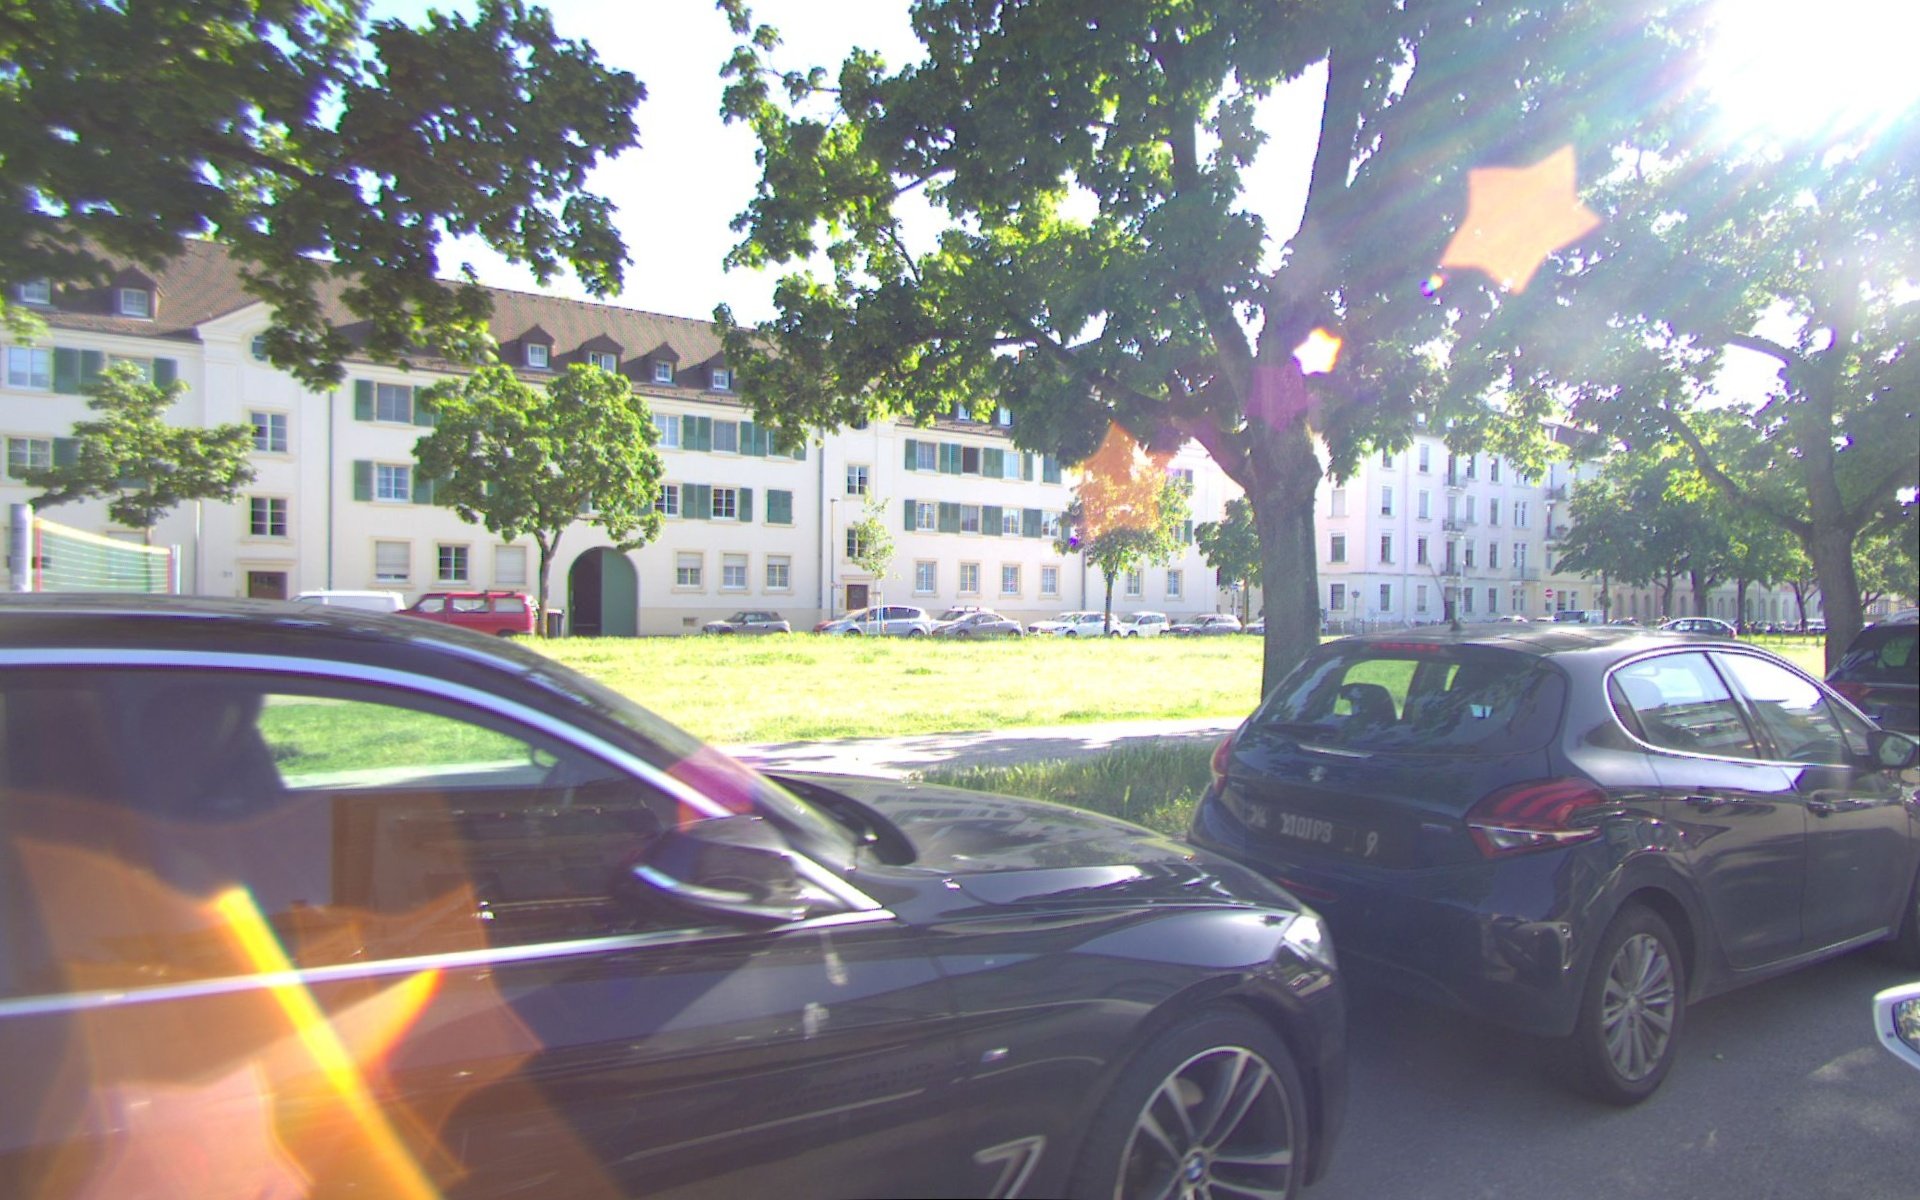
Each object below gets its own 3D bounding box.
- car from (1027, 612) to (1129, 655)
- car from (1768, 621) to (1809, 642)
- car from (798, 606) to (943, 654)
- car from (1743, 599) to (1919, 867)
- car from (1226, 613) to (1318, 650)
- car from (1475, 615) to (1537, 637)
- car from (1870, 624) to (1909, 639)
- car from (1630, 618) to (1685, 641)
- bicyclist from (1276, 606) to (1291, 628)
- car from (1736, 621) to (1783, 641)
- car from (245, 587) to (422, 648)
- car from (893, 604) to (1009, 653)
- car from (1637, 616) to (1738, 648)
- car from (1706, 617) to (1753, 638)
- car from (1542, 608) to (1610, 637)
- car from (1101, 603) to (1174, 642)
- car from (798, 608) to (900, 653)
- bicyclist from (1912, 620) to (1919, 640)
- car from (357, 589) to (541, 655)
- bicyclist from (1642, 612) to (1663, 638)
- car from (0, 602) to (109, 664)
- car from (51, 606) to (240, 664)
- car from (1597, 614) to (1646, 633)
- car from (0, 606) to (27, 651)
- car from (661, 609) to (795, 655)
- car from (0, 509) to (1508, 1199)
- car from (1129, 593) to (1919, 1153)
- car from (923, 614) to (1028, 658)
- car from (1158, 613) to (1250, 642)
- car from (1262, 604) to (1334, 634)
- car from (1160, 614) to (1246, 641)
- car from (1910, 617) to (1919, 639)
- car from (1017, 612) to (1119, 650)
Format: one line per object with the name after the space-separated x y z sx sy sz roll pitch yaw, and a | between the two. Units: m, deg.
5.462 1.507 46.352 4.212 1.844 2.223 1 0 -33 | car
70.906 2.674 85.967 4.037 1.709 1.622 1 0 -33 | car
-3.610 1.197 40.835 5.387 1.844 2.439 1 0 -29 | car
7.999 0.853 7.297 4.700 1.647 2.017 1 -2 -30 | car
16.488 1.642 53.006 4.653 1.844 2.146 1 0 -33 | car
40.041 1.900 73.653 4.398 1.608 1.985 1 0 -29 | car
91.133 3.077 98.515 3.730 1.459 1.837 1 0 -31 | car
51.401 2.179 74.013 4.648 1.582 1.684 1 0 -33 | car
20.520 1.078 63.716 0.777 1.382 0.529 1 0 -33 | bicyclist
66.199 2.587 83.145 4.480 1.570 1.746 1 0 -33 | car
-22.199 0.617 35.779 5.201 2.011 2.207 1 0 -33 | car
-0.422 1.378 49.419 5.200 2.245 2.516 1 0 -33 | car
38.311 1.641 53.013 4.277 1.597 1.922 0 -1 36 | car
61.108 2.187 79.755 4.308 1.570 1.622 1 0 -33 | car
42.220 1.538 68.811 5.044 1.897 2.069 1 0 -33 | car
9.811 1.240 55.392 3.853 2.040 1.657 2 -1 -31 | car
-5.116 1.387 46.380 4.121 1.930 2.251 1 0 -32 | car
88.830 2.802 92.794 1.433 1.861 0.937 2 -1 -31 | bicyclist
-16.657 0.707 32.834 5.201 2.011 2.207 1 0 -33 | car
38.919 1.407 56.461 0.861 1.382 0.622 1 4 28 | bicyclist
-25.783 0.860 27.003 4.188 1.604 1.779 1 0 -32 | car
-26.604 1.117 33.045 4.594 1.787 1.982 1 0 -33 | car
46.938 1.640 71.263 3.488 1.296 1.684 1 0 -33 | car
-31.054 0.846 30.285 3.955 1.374 1.759 1 0 -32 | car
-10.019 1.354 43.442 5.194 1.844 2.439 1 0 -29 | car
-1.264 0.701 1.995 5.103 1.536 1.982 1 -2 -33 | car
2.799 0.767 4.354 3.758 1.437 1.871 2 -2 -30 | car
0.664 1.539 43.427 3.960 1.773 2.307 1 0 -29 | car
13.160 1.462 54.152 4.902 1.504 1.983 1 -1 -32 | car
24.157 1.328 71.955 2.118 2.040 4.534 1 0 -33 | car
14.035 1.575 57.905 4.902 1.504 1.983 1 -1 -32 | car
99.911 2.880 103.637 4.955 2.243 1.684 1 0 -33 | car
5.713 1.603 52.972 5.099 1.911 2.143 1 0 -31 | car
